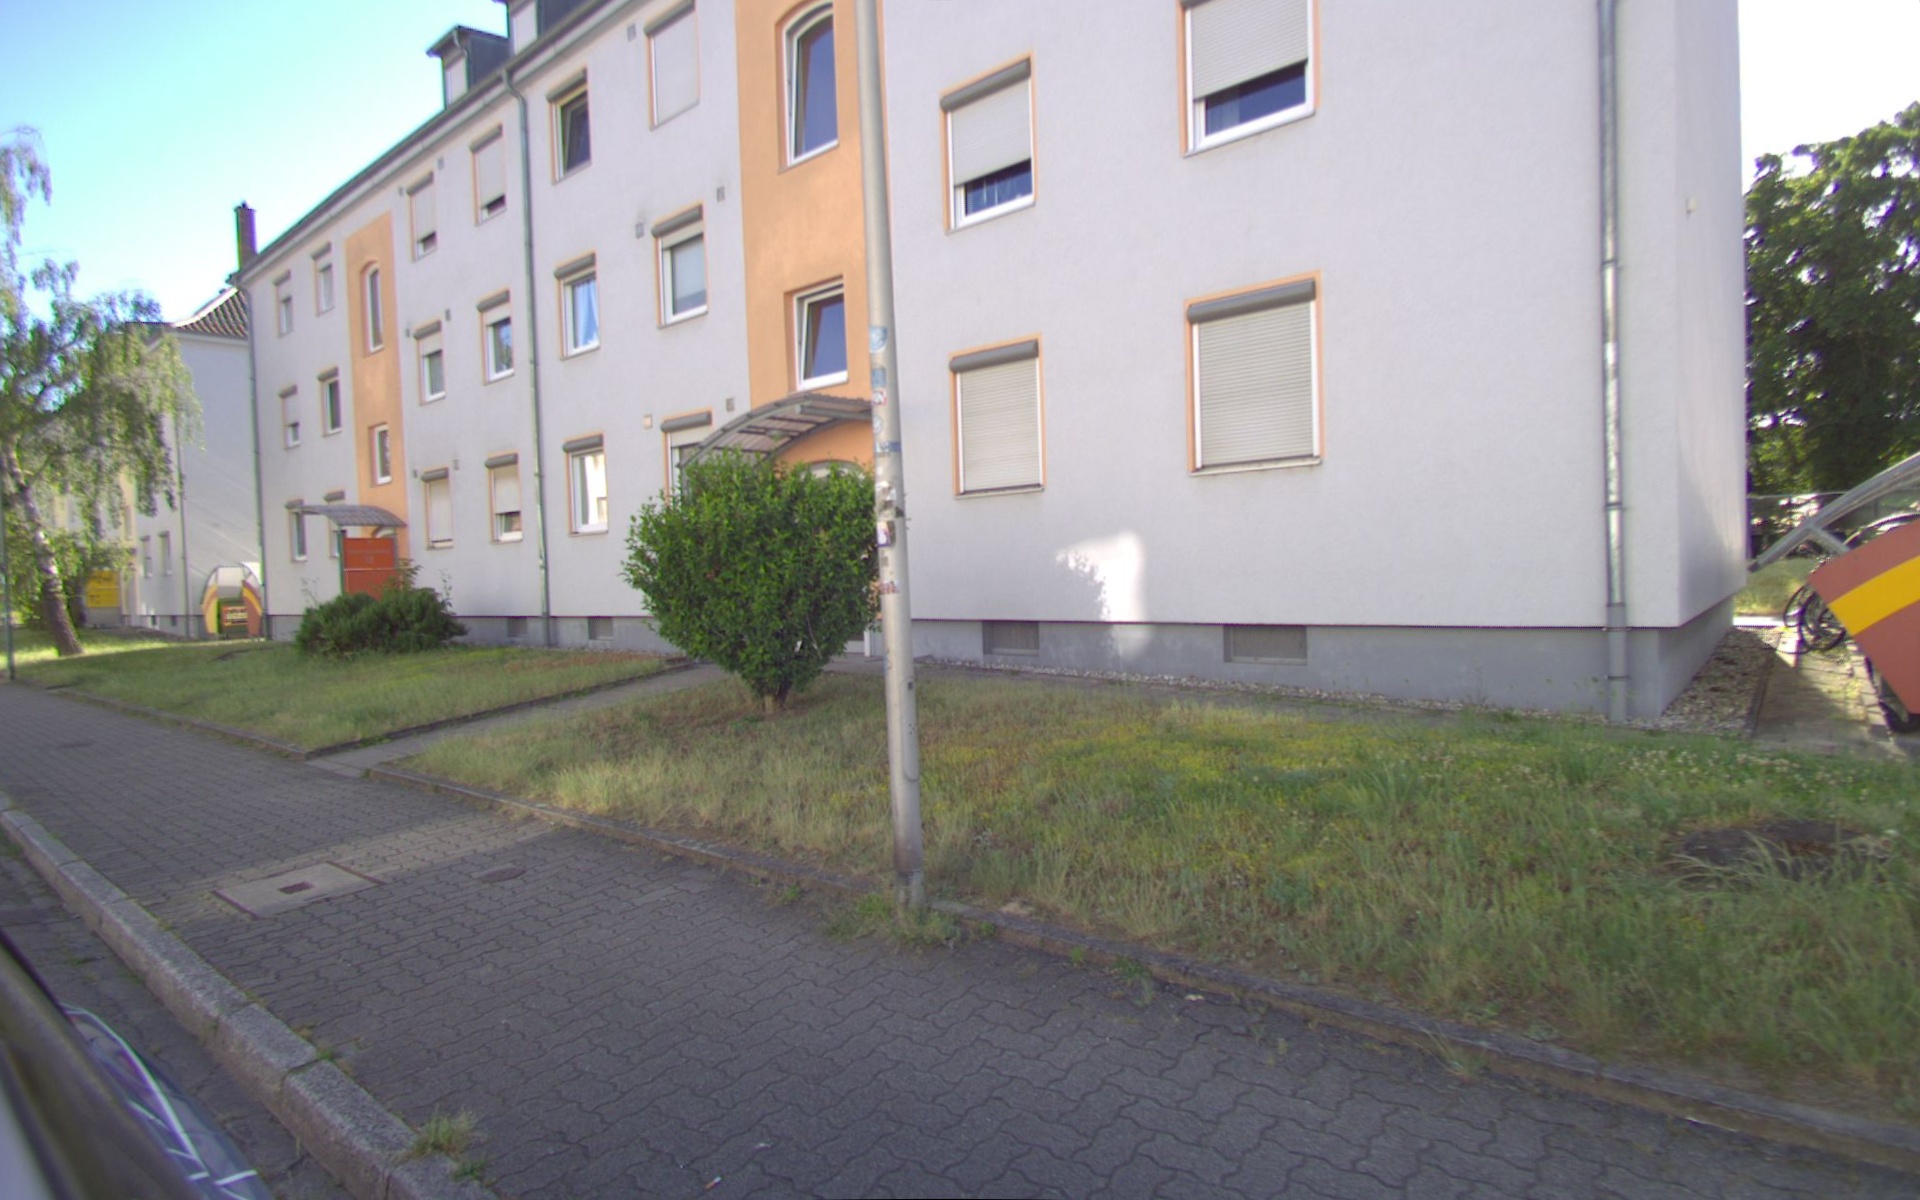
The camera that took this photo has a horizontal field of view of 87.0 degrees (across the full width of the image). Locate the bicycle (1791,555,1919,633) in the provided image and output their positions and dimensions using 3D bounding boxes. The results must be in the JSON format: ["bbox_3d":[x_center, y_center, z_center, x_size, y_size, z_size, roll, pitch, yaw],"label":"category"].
[{"bbox_3d":[11.304,-0.072,12.373,1.732,0.916,0.503,-1,2,41],"label":"bicycle"}]

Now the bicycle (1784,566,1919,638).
[{"bbox_3d":[10.809,0.019,11.883,1.732,0.803,0.503,-1,2,41],"label":"bicycle"}]

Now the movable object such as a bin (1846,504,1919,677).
[{"bbox_3d":[8.442,-0.101,8.881,0.946,1.453,1.049,-2,1,40],"label":"movable object such as a bin"}]

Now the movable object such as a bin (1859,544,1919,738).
[{"bbox_3d":[6.459,0.222,6.527,0.909,1.177,1.300,-2,1,40],"label":"movable object such as a bin"}]

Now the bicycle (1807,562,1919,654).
[{"bbox_3d":[10.384,0.078,10.888,1.928,0.955,0.544,-1,3,41],"label":"bicycle"}]

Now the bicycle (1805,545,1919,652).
[{"bbox_3d":[9.960,-0.026,10.390,1.940,1.075,0.503,-1,2,41],"label":"bicycle"}]

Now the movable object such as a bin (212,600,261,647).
[{"bbox_3d":[-23.058,0.741,32.258,0.812,1.416,1.073,-2,2,41],"label":"movable object such as a bin"}]
